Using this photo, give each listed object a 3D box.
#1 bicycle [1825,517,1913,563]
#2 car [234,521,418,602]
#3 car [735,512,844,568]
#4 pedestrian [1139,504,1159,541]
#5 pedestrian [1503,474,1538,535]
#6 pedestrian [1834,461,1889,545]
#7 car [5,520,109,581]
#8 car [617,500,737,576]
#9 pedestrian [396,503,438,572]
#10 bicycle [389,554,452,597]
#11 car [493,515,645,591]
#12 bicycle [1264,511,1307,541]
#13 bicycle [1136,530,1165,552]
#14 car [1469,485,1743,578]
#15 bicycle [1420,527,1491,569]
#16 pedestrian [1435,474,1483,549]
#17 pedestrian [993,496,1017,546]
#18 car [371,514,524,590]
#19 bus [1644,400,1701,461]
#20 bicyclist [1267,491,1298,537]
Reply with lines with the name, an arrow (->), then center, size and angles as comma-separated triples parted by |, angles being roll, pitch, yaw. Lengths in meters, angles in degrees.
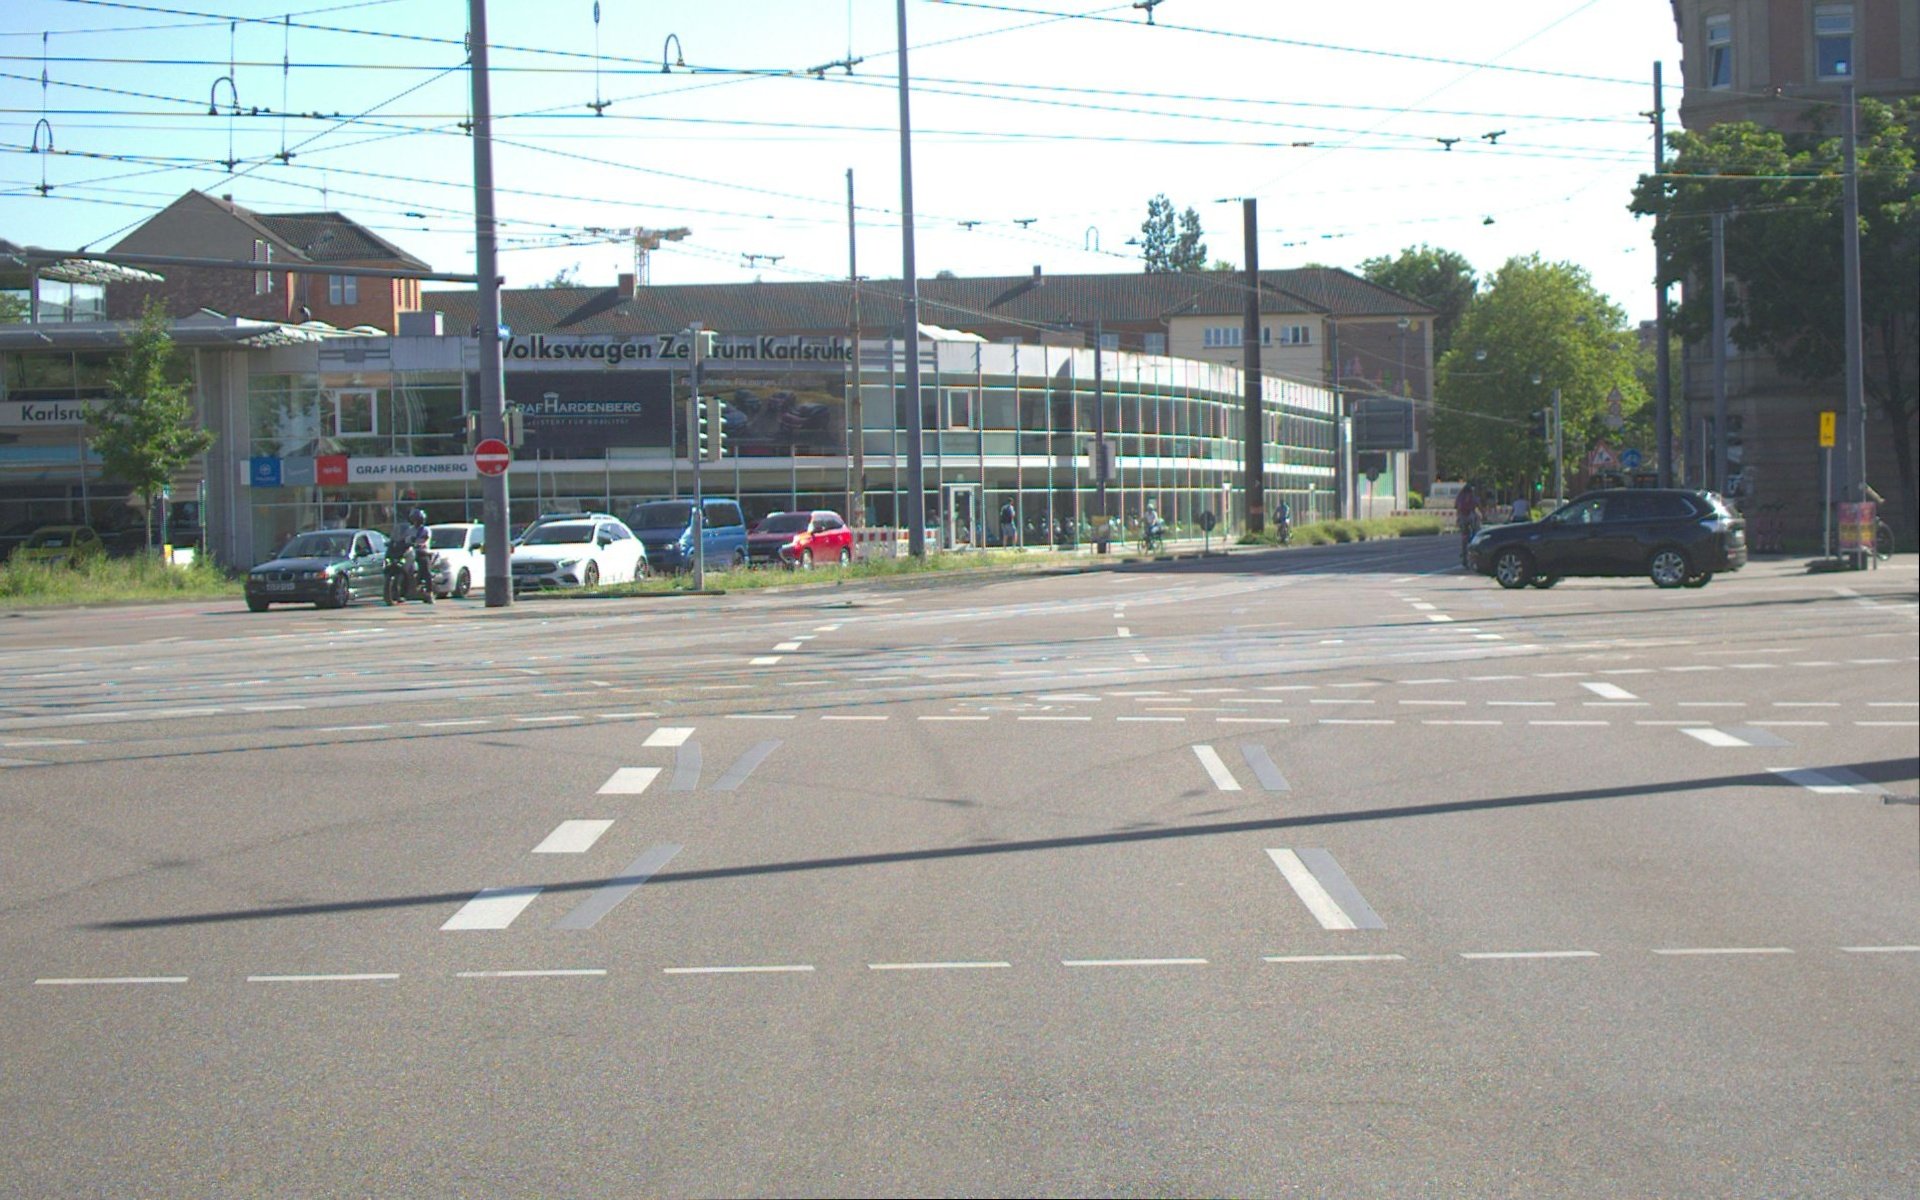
bicycle -> 17.744, -1.170, 67.084 | 1.926, 0.867, 0.745 | -2, 2, -43
car -> -11.306, -0.708, 61.532 | 1.705, 1.349, 3.698 | -1, 2, 17
car -> -4.274, -1.528, 86.729 | 1.627, 1.359, 3.683 | -1, 1, 16
pedestrian -> 6.304, -2.578, 114.565 | 0.423, 1.200, 0.679 | 0, 1, 26
pedestrian -> 14.154, -2.414, 86.794 | 0.746, 1.517, 0.717 | 0, 1, 18
pedestrian -> 17.534, -1.891, 66.876 | 0.716, 1.626, 0.758 | -2, 2, -44
car -> -26.389, -1.466, 100.555 | 1.966, 1.700, 4.084 | -1, 1, 0
car -> -6.533, -1.444, 79.606 | 1.627, 1.686, 3.683 | -1, 1, 14
pedestrian -> -9.632, -1.112, 61.023 | 0.423, 1.200, 0.749 | -1, 1, 17
bicycle -> -9.585, -0.439, 61.131 | 0.423, 0.715, 1.633 | -1, 2, 17
car -> -7.431, -0.916, 65.596 | 1.627, 1.377, 3.735 | -1, 1, 14
bicycle -> 11.678, -2.651, 123.313 | 0.811, 1.041, 2.124 | 0, 2, 26
bicycle -> 6.359, -1.974, 114.669 | 0.423, 0.715, 1.473 | 0, 2, 26
car -> 10.938, -1.153, 58.229 | 4.256, 1.497, 1.702 | 0, 2, 26
bicycle -> 10.847, -1.143, 75.243 | 0.744, 0.867, 1.927 | 0, 2, 35
pedestrian -> 10.956, -1.933, 75.475 | 0.804, 1.626, 0.717 | 0, 1, 35
pedestrian -> 1.512, -2.660, 115.717 | 0.543, 1.683, 0.629 | 0, 2, 36
car -> -10.027, -0.958, 67.482 | 1.627, 1.419, 3.683 | -1, 1, 14
bus -> 51.811, -12.227, 249.658 | 3.839, 3.595, 24.853 | 1, 1, 12
bicyclist -> 11.557, -3.076, 123.036 | 0.811, 1.618, 0.927 | 0, 1, 26
